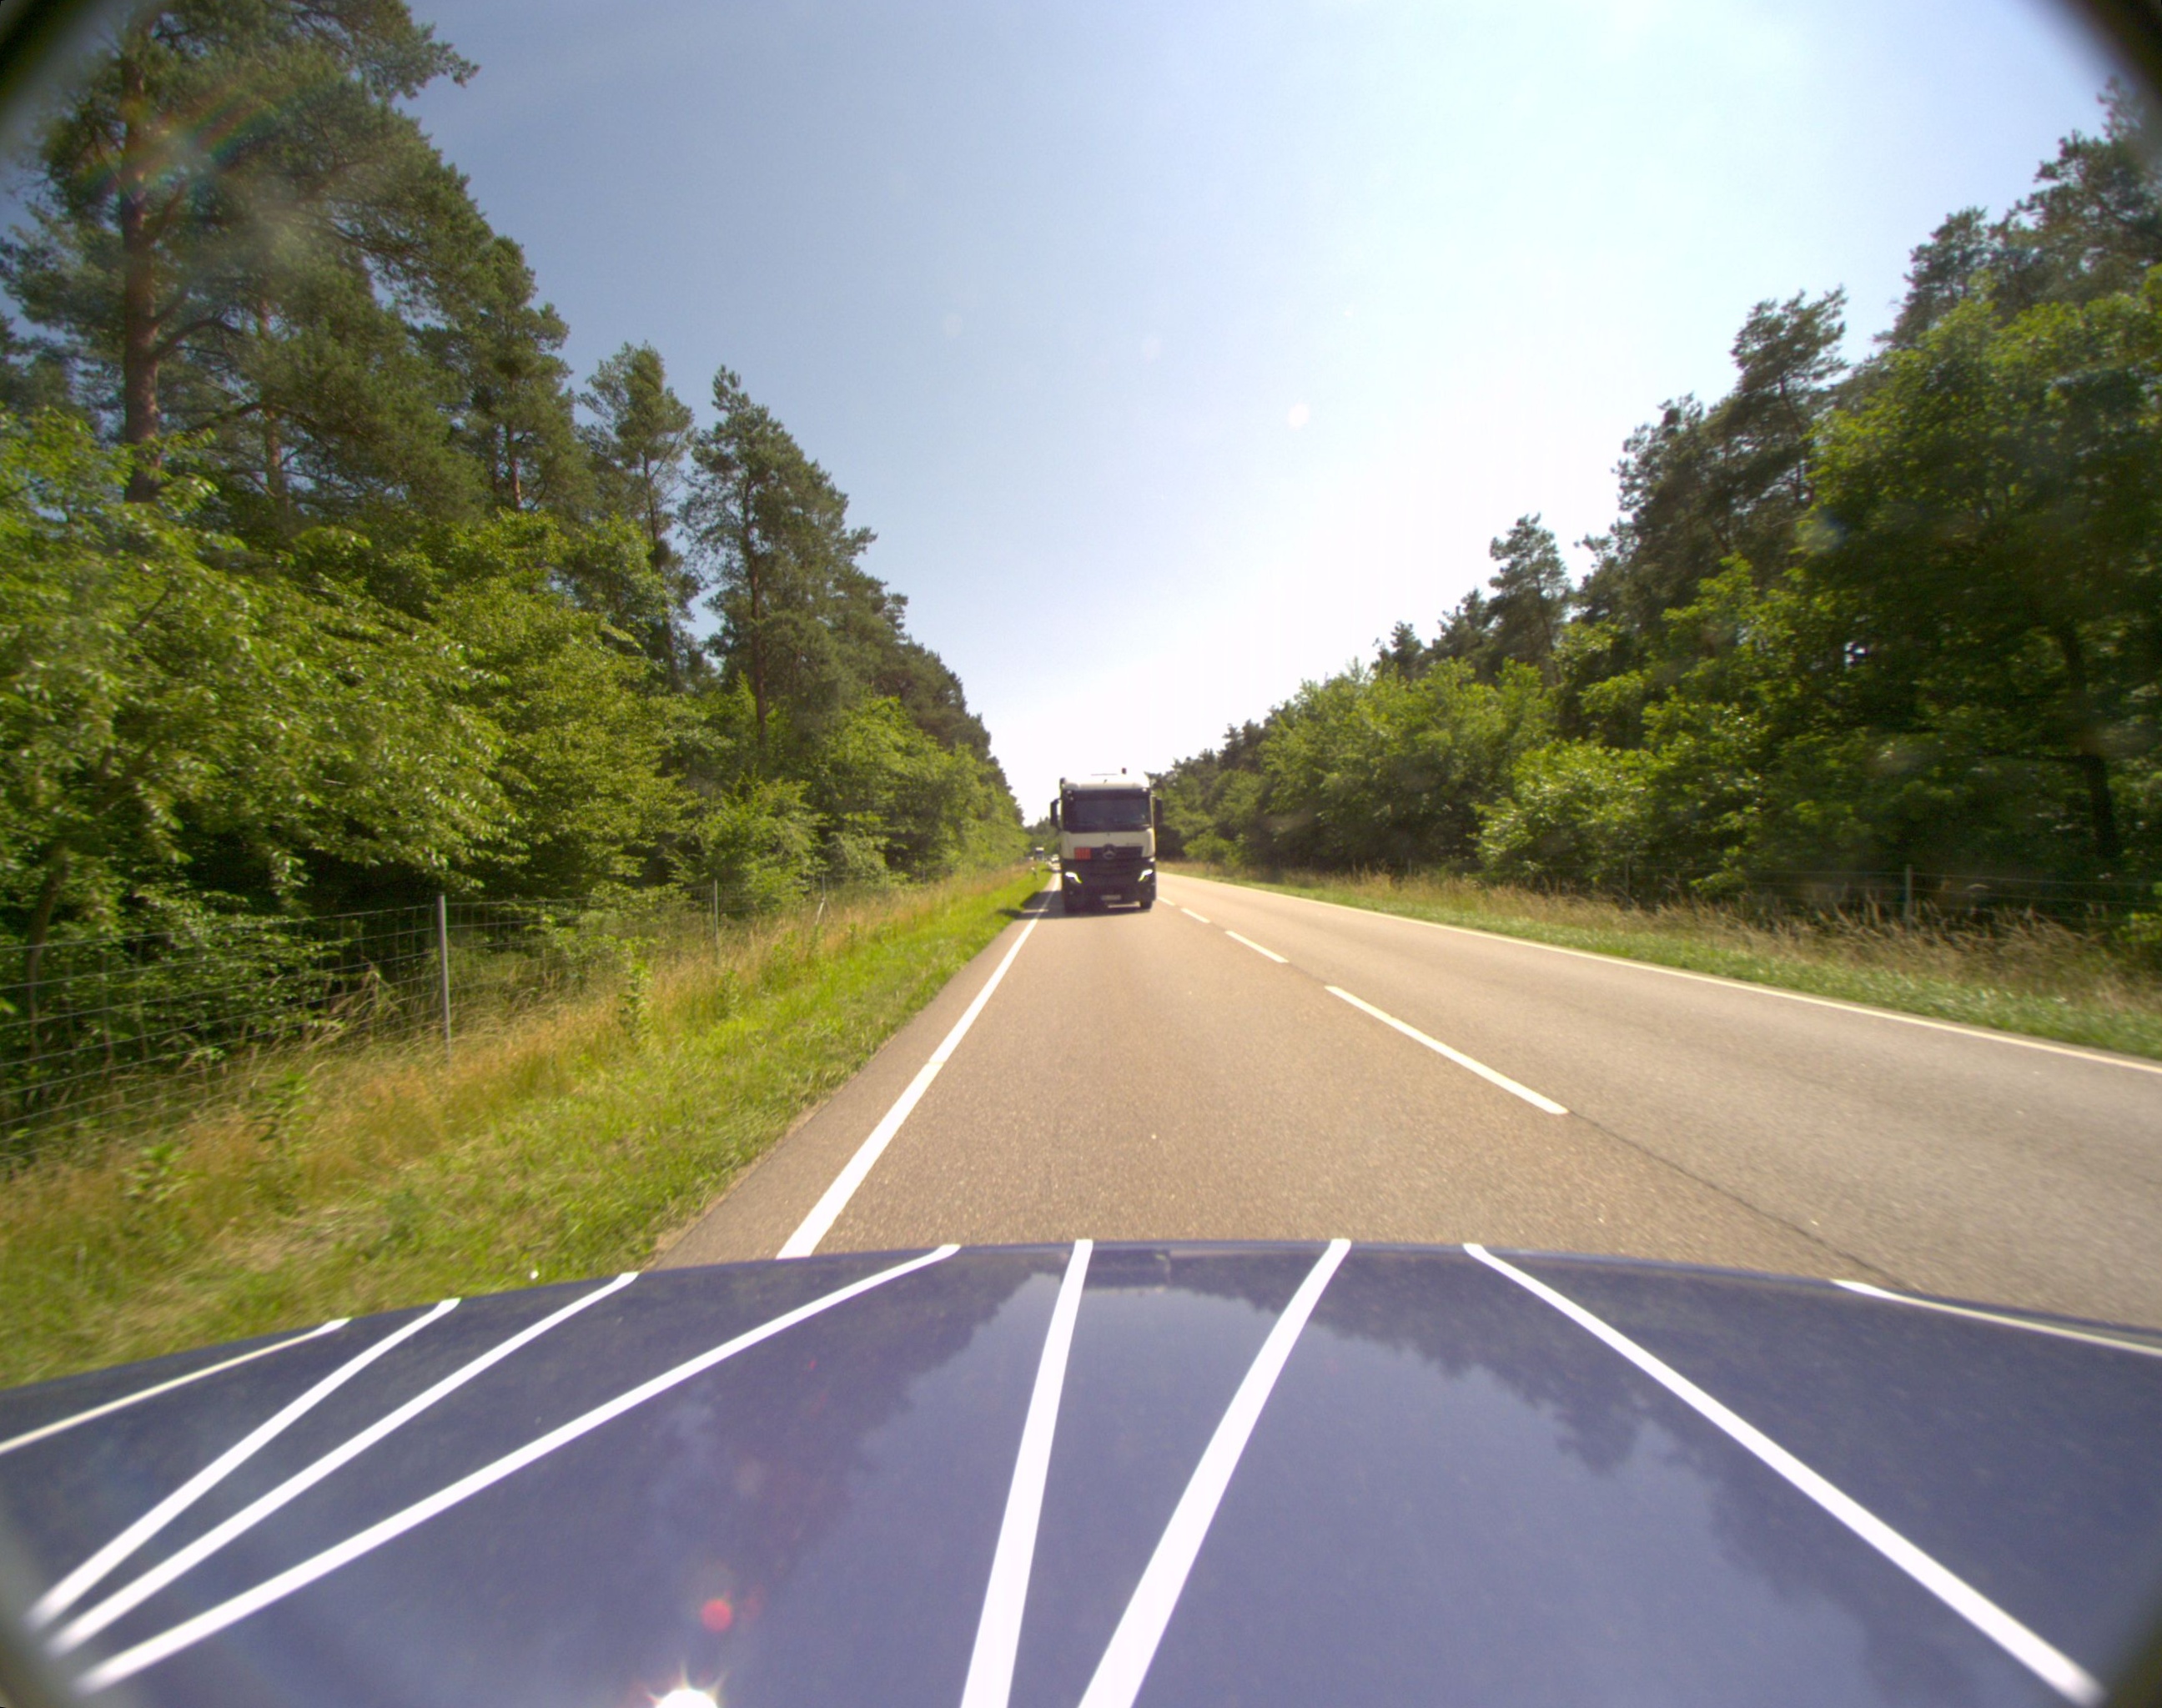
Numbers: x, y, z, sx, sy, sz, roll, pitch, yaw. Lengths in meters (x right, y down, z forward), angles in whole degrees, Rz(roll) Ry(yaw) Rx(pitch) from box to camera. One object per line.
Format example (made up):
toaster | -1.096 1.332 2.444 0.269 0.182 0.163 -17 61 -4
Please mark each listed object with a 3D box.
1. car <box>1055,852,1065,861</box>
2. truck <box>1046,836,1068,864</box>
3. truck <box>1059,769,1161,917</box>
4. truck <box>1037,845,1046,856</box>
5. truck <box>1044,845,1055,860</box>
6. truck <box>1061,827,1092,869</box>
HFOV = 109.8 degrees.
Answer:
car | -3.807 0.430 136.843 1.885 1.462 3.999 0 0 -2
truck | -3.004 -0.439 94.449 2.495 3.316 6.222 1 0 -4
truck | 0.712 -0.261 22.633 2.435 3.672 6.456 -3 0 -1
truck | -12.144 -1.071 233.350 2.495 3.619 6.099 0 0 -6
truck | -7.915 -0.360 191.799 2.495 3.619 6.101 -1 0 -4
truck | -0.483 -0.573 70.494 2.495 3.698 6.222 1 0 -4
